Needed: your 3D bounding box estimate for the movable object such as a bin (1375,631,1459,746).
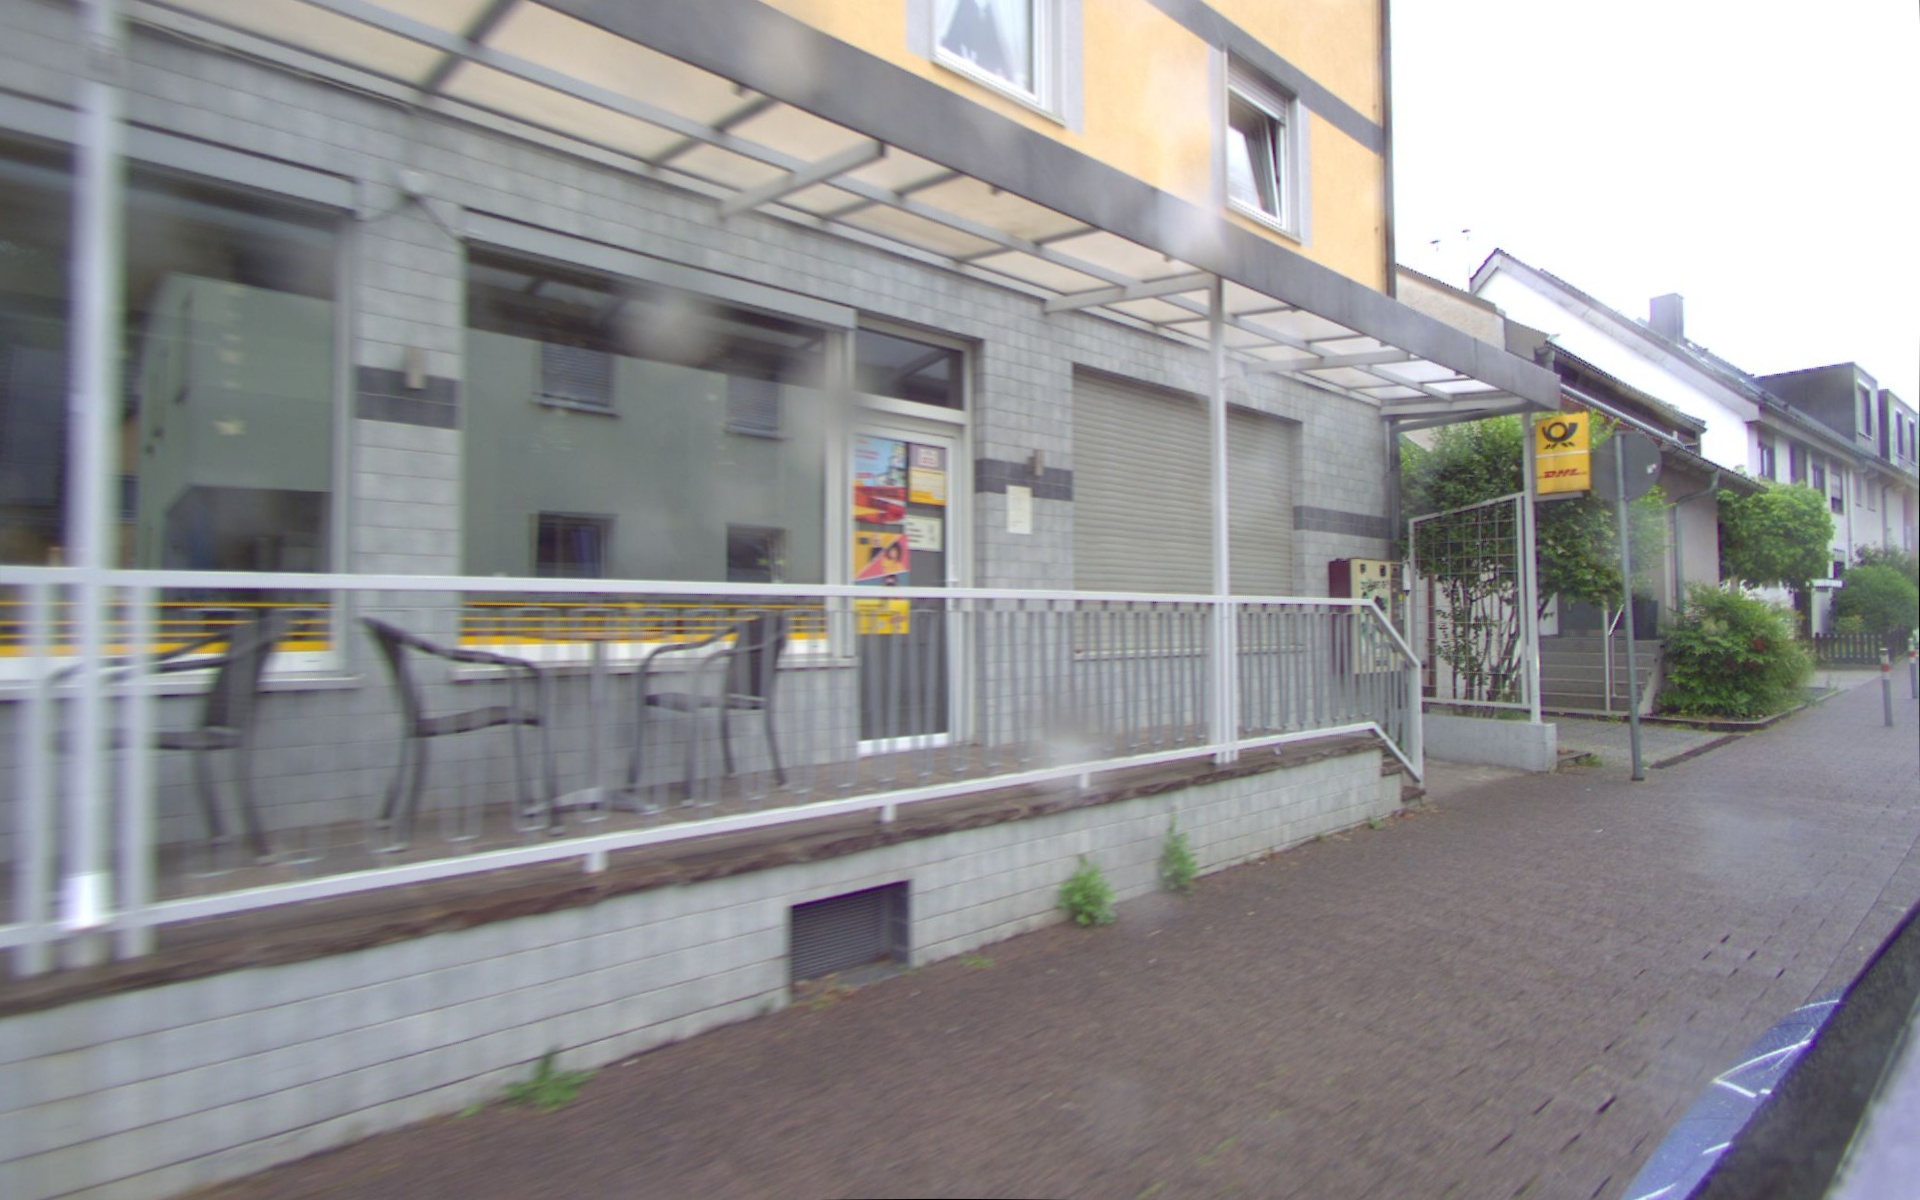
[{"bbox_3d":[4.678,0.882,10.364,0.726,1.095,0.510,1,-1,-38],"label":"movable object such as a bin"}]
